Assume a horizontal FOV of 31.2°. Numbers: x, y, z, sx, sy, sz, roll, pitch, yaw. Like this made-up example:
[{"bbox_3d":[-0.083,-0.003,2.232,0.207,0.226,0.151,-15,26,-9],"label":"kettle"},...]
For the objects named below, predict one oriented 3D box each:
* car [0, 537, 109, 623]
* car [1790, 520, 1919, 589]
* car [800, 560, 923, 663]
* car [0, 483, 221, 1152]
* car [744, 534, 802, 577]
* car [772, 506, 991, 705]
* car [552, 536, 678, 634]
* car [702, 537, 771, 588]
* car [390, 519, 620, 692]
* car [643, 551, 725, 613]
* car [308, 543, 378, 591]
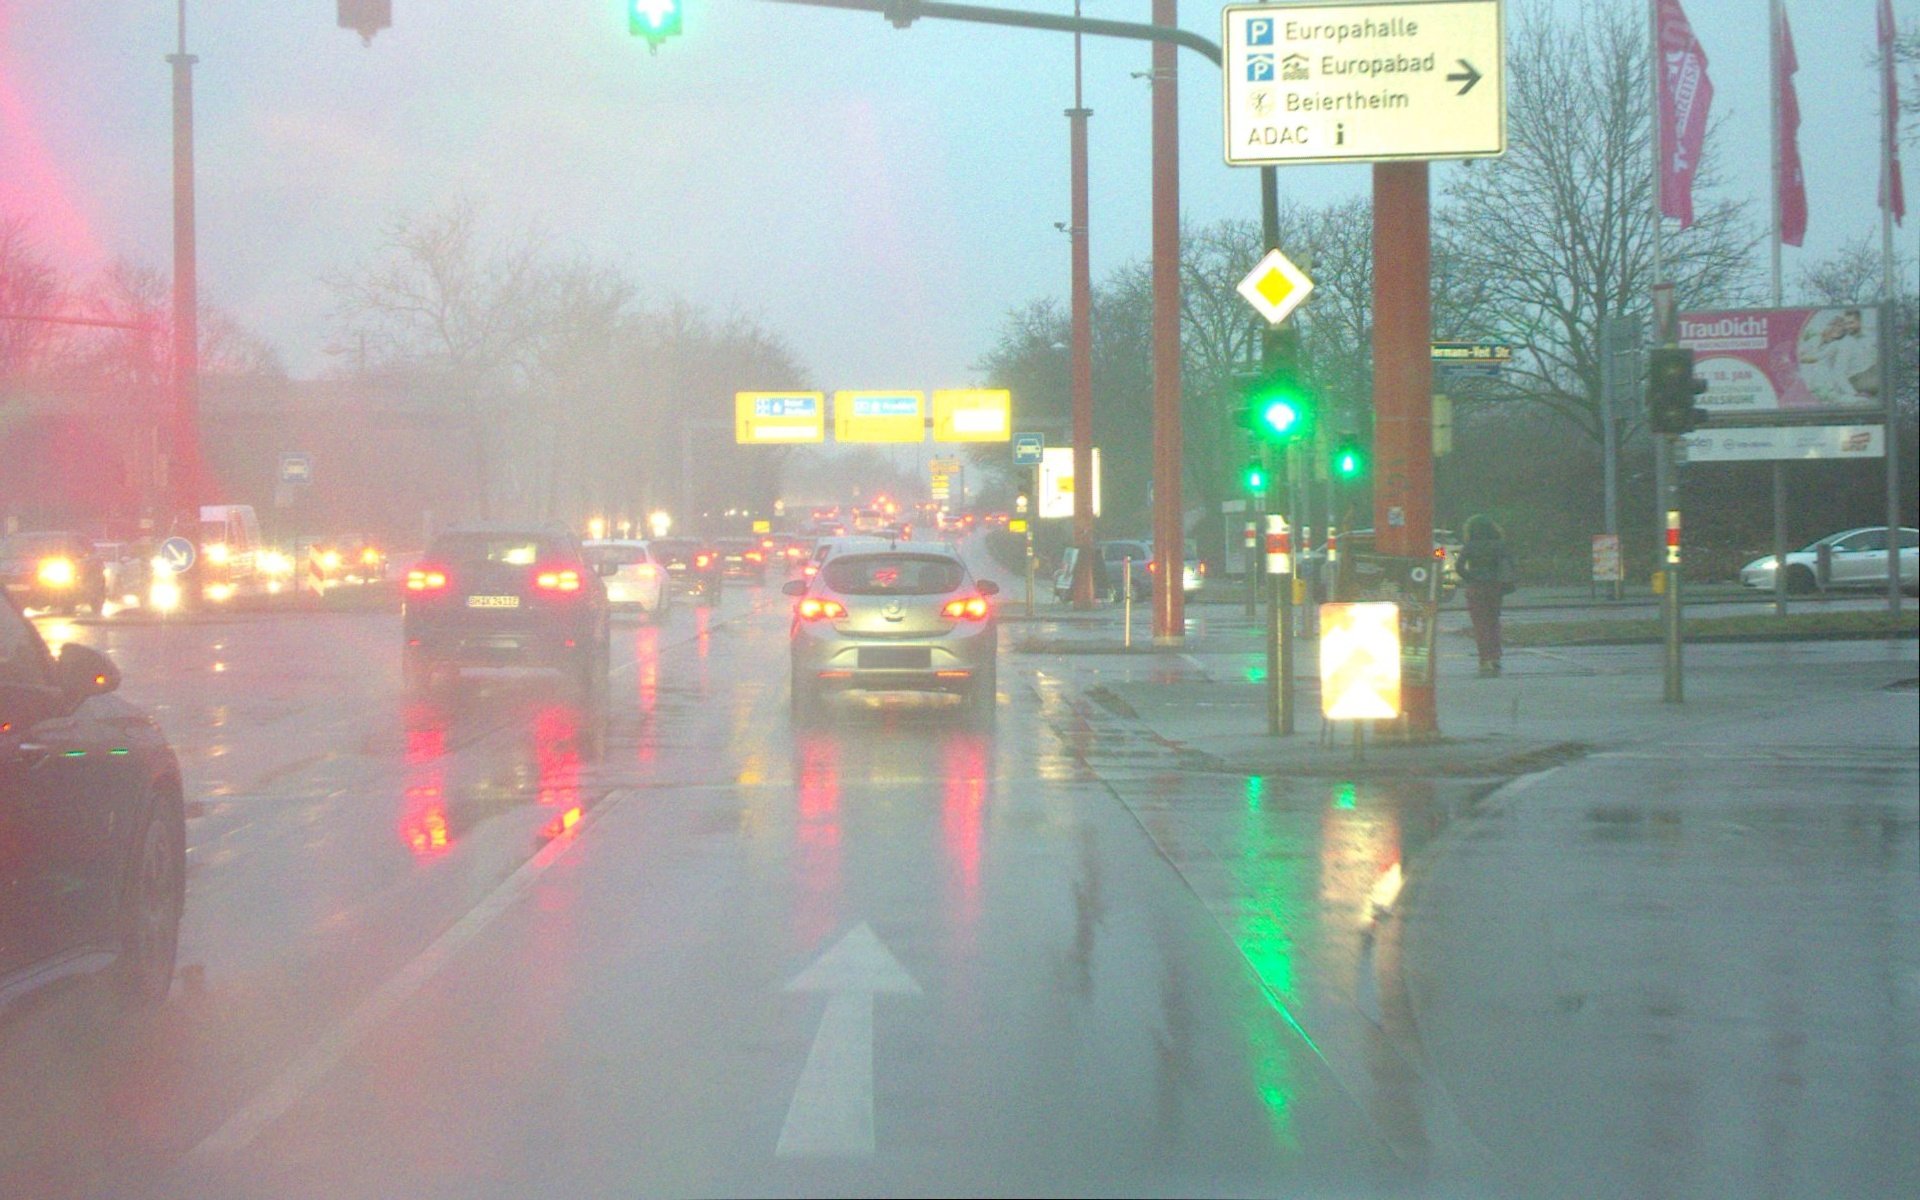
[{"bbox_3d":[-17.684,-0.413,65.913,1.856,1.576,4.080,0,1,-2],"label":"car"},{"bbox_3d":[19.344,-0.923,69.409,4.739,1.371,1.883,0,1,3],"label":"car"},{"bbox_3d":[-1.651,0.172,58.621,1.993,1.656,4.000,1,0,-1],"label":"car"},{"bbox_3d":[-3.274,0.531,8.804,1.822,1.642,4.467,0,1,0],"label":"car"},{"bbox_3d":[-7.070,-1.685,130.243,1.993,1.571,4.000,1,0,-1],"label":"car"},{"bbox_3d":[-0.673,0.016,31.096,1.822,1.642,4.467,-1,1,0],"label":"car"},{"bbox_3d":[-5.964,-0.287,59.811,1.822,1.642,4.000,0,1,0],"label":"car"},{"bbox_3d":[-6.621,-1.119,102.134,1.822,1.499,4.000,0,1,0],"label":"car"},{"bbox_3d":[-4.537,0.021,34.803,1.822,1.642,4.000,0,1,0],"label":"car"},{"bbox_3d":[-6.068,-0.411,75.814,1.505,1.334,4.000,0,1,0],"label":"car"},{"bbox_3d":[-21.105,-1.151,117.773,1.770,1.581,4.034,0,1,-2],"label":"car"}]
